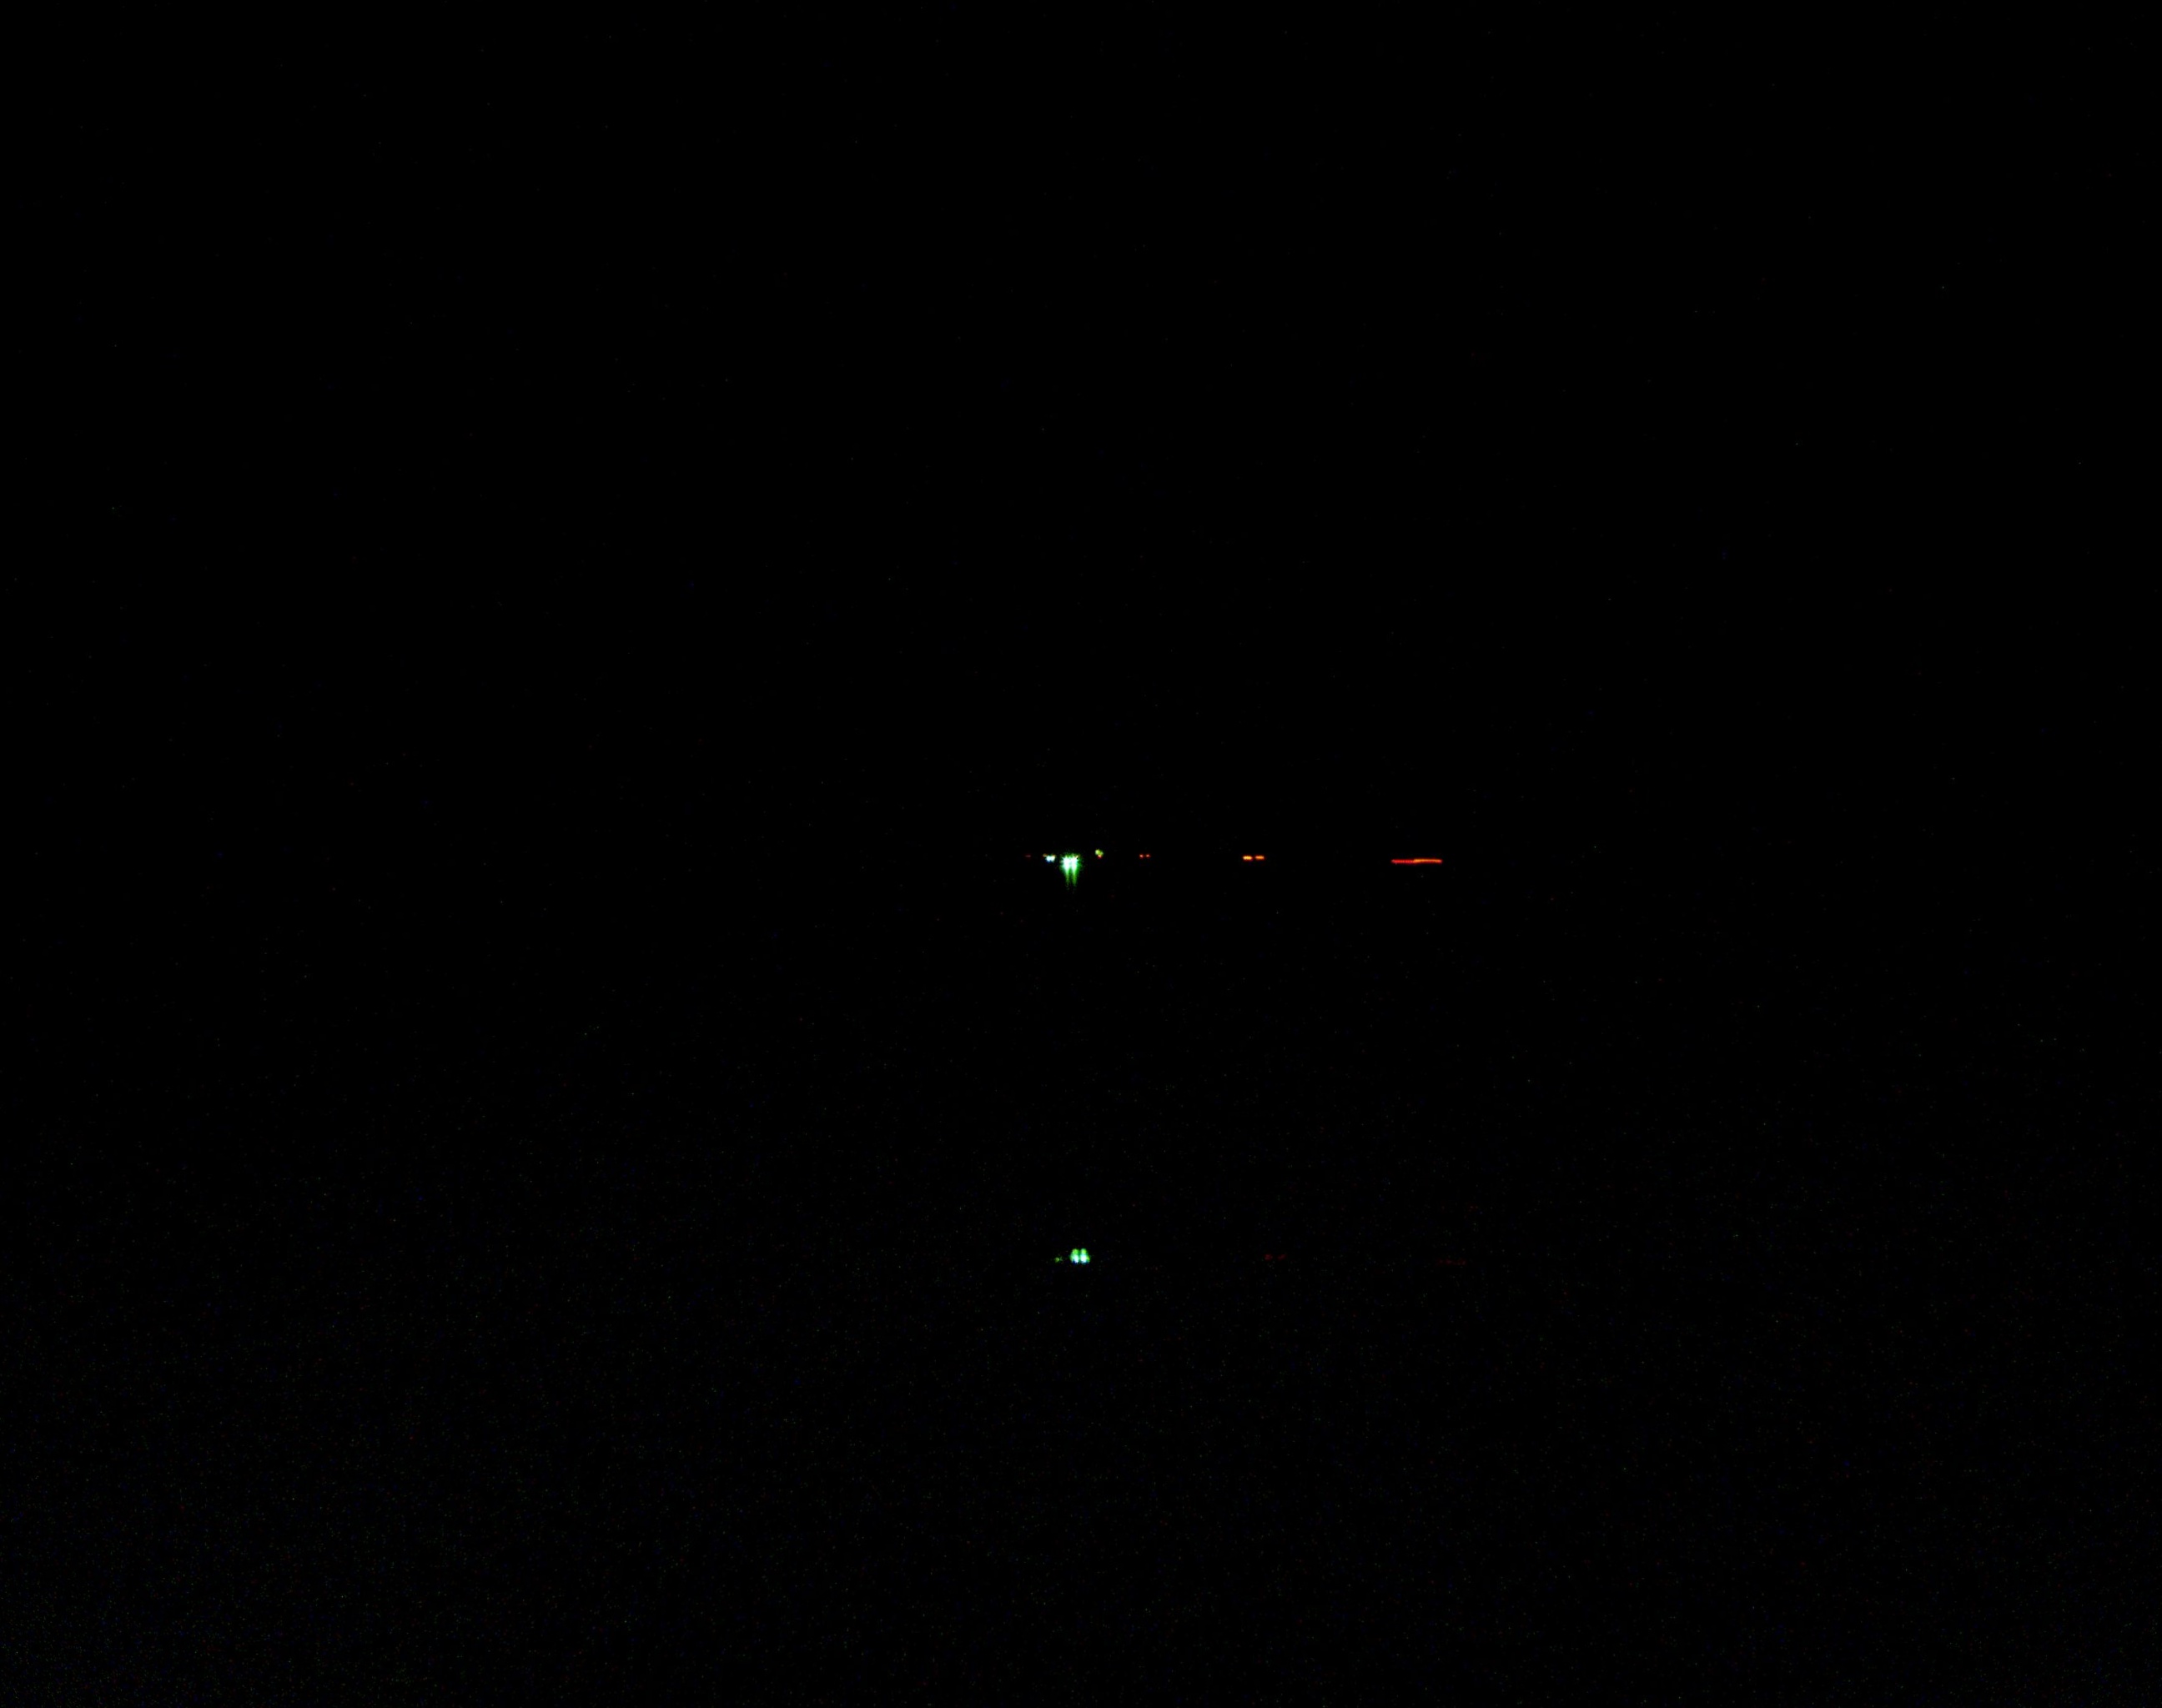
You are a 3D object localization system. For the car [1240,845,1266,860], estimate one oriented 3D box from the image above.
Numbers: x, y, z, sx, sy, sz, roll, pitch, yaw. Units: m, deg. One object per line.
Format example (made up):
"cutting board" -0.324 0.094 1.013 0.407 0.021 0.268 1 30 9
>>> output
"car" 19.539 -0.216 86.367 1.998 1.641 4.398 -2 1 0

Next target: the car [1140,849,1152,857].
"car" 15.350 -0.229 179.833 1.999 1.776 4.397 -2 1 -4

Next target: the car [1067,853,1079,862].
"car" -1.575 0.600 145.681 2.155 1.558 4.579 -2 1 -3

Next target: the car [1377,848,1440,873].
"car" 19.564 0.341 45.580 1.998 1.324 4.399 -1 1 3
